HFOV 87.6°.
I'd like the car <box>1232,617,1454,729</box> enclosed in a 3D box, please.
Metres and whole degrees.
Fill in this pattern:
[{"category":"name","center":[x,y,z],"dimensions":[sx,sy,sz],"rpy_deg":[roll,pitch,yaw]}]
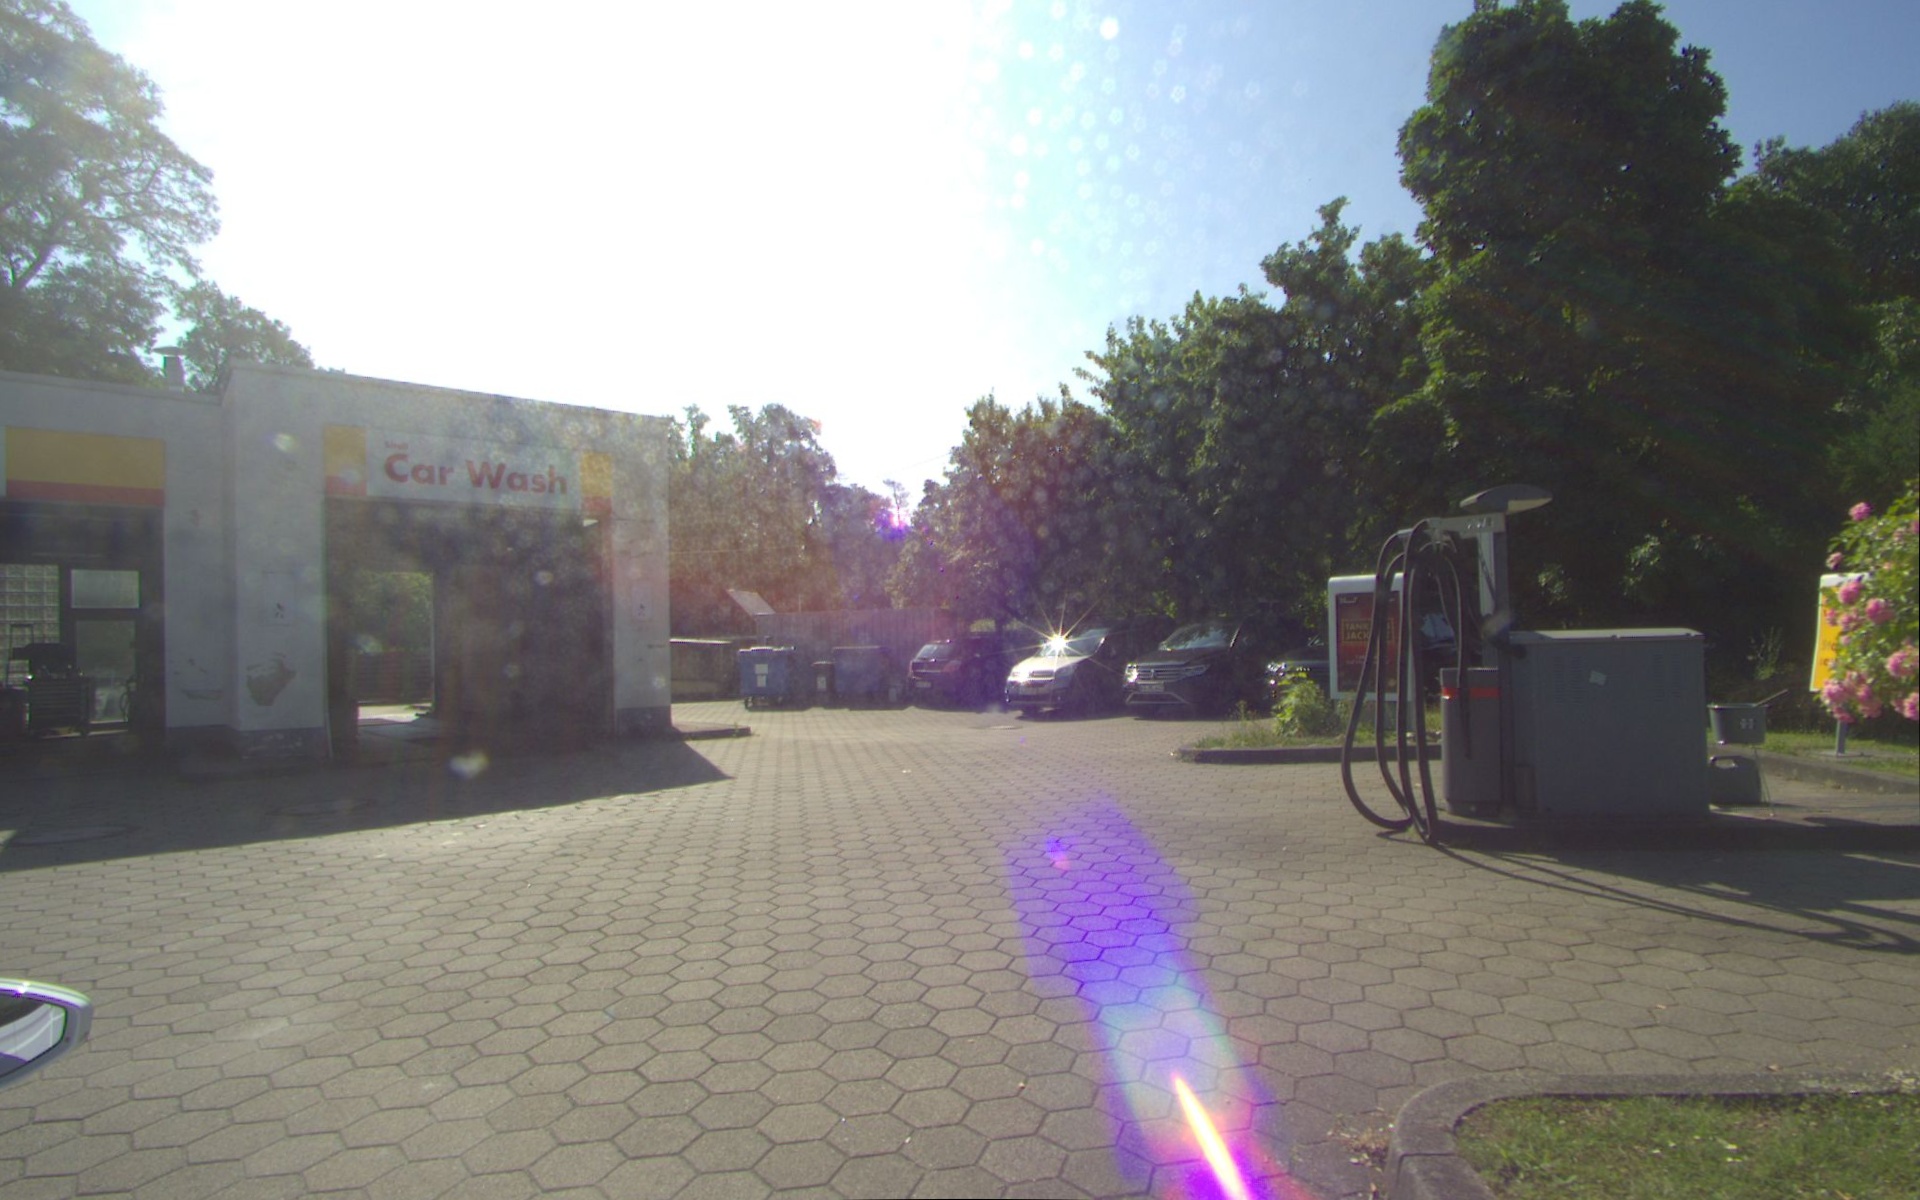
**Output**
[{"category":"car","center":[6.058,1.065,15.634],"dimensions":[3.900,1.530,1.669],"rpy_deg":[1,-3,-43]}]

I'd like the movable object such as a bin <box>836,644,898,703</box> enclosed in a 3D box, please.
[{"category":"movable object such as a bin","center":[-2.138,1.690,23.072],"dimensions":[1.212,1.306,0.866],"rpy_deg":[-2,-2,12]}]

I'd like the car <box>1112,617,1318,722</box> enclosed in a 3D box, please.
[{"category":"car","center":[4.599,1.174,17.767],"dimensions":[3.900,1.649,1.669],"rpy_deg":[1,-4,-43]}]

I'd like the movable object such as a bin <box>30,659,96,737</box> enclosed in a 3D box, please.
[{"category":"movable object such as a bin","center":[-15.217,1.658,17.008],"dimensions":[0.790,1.251,0.540],"rpy_deg":[0,-4,-39]}]

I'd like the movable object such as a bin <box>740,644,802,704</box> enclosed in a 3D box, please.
[{"category":"movable object such as a bin","center":[-4.386,1.704,23.289],"dimensions":[1.211,1.341,0.850],"rpy_deg":[-1,-2,3]}]

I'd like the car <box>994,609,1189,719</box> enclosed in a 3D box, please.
[{"category":"car","center":[2.673,1.203,19.873],"dimensions":[3.898,1.816,1.669],"rpy_deg":[-3,-1,-43]}]

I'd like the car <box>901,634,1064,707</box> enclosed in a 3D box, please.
[{"category":"car","center":[0.542,1.532,22.731],"dimensions":[3.471,1.457,1.670],"rpy_deg":[0,-1,-40]}]

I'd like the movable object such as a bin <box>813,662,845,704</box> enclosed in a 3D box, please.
[{"category":"movable object such as a bin","center":[-3.031,1.921,23.245],"dimensions":[0.484,0.921,0.866],"rpy_deg":[-2,-2,11]}]

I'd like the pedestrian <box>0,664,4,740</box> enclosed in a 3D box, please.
[{"category":"pedestrian","center":[-15.890,1.659,15.993],"dimensions":[0.857,1.212,0.737],"rpy_deg":[0,-4,-41]}]
